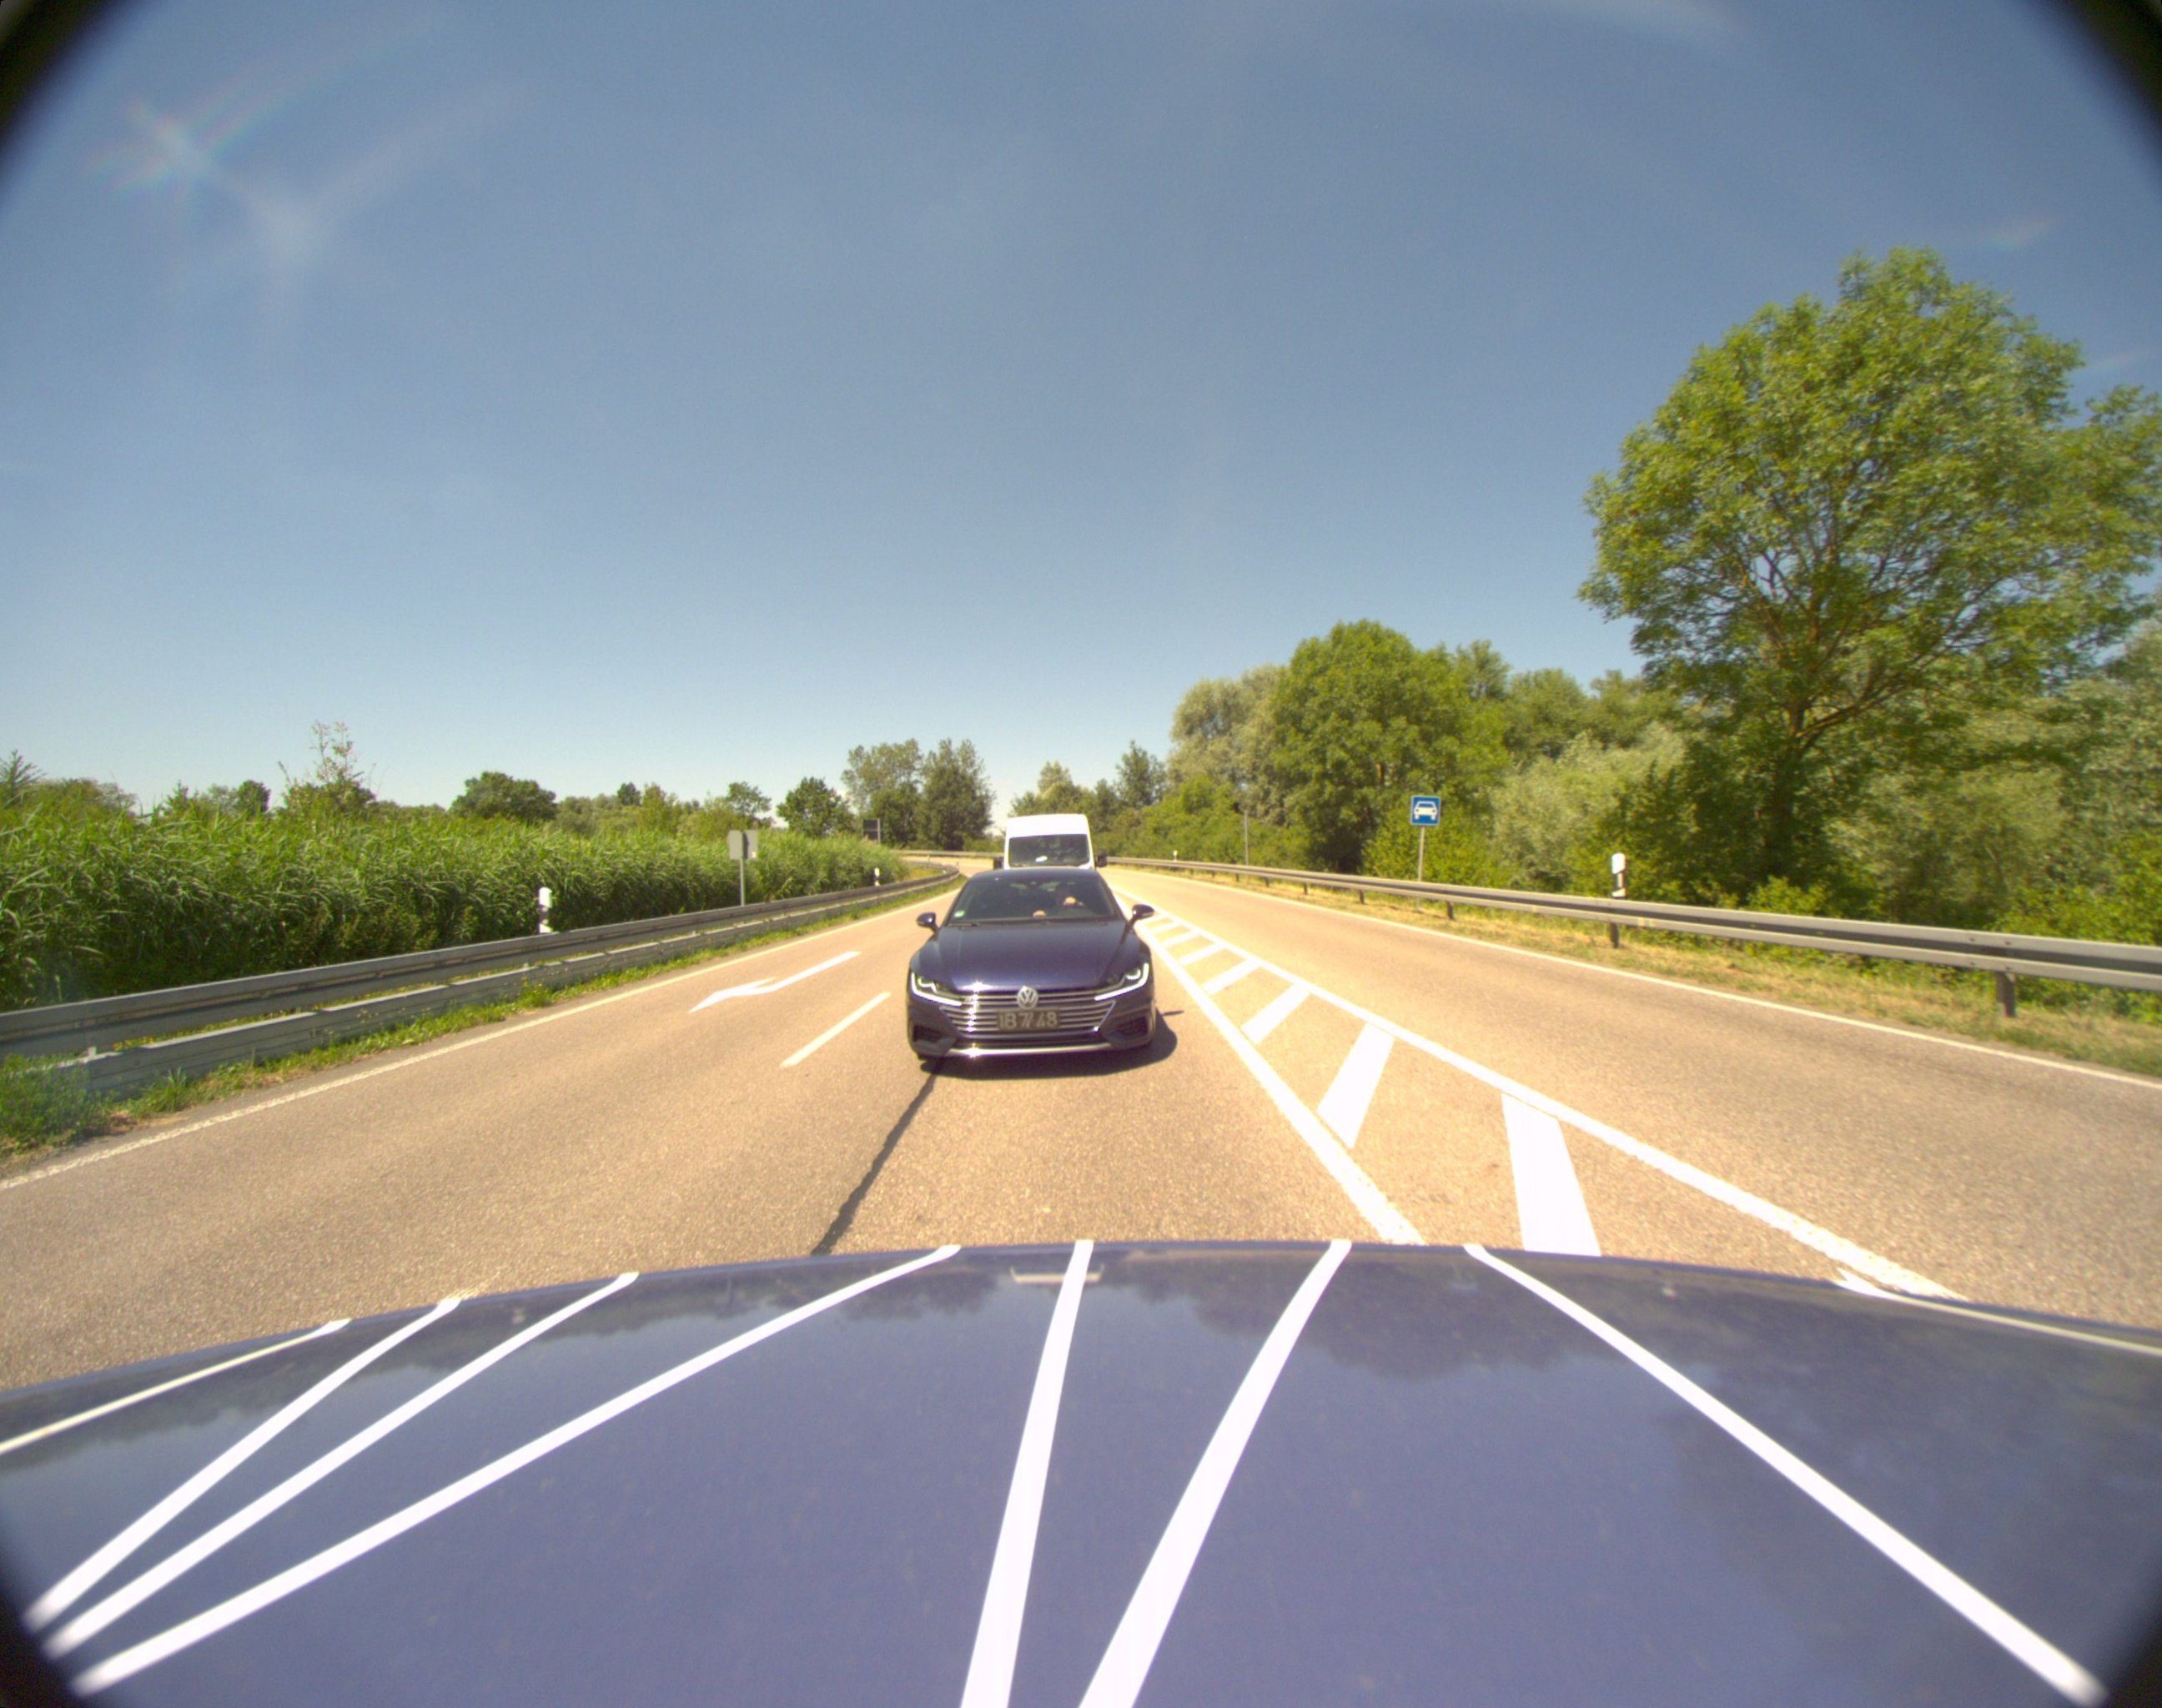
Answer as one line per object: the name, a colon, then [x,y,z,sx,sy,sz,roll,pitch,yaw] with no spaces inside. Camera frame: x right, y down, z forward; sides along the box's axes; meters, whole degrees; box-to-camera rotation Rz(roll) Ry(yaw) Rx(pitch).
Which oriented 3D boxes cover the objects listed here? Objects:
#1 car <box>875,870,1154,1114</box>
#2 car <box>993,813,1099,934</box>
car: [-0.418,0.939,6.932,1.761,1.401,3.999,-2,1,0]
car: [-0.688,0.375,18.277,2.059,2.376,5.826,-2,1,0]
